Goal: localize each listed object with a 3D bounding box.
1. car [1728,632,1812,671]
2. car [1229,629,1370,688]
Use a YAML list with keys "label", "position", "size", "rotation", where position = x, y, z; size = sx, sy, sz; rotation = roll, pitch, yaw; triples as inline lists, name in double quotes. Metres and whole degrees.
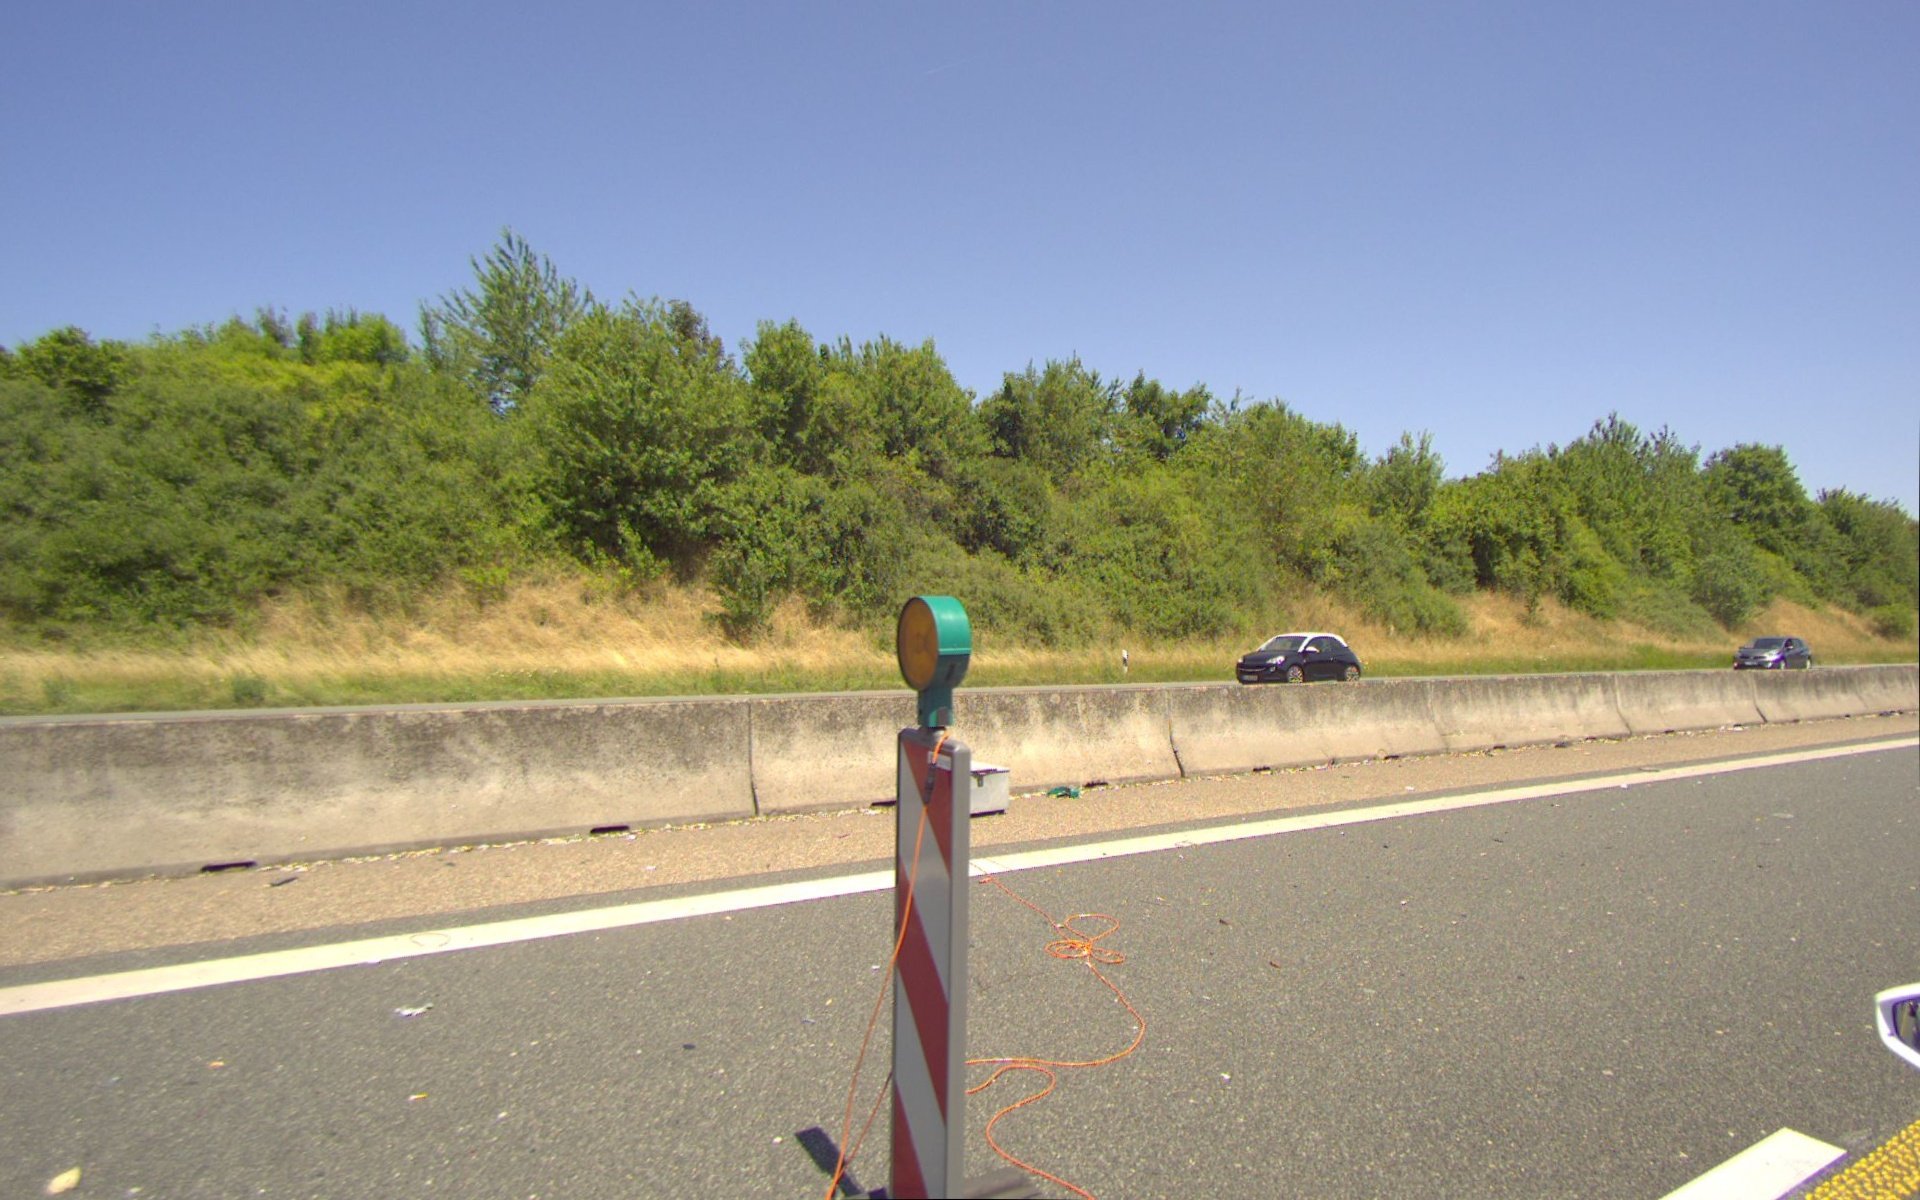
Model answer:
- label: "car"
  position: [34.254, 2.170, 42.448]
  size: [3.953, 1.568, 1.492]
  rotation: [1, -1, -30]
- label: "car"
  position: [9.170, 1.539, 27.082]
  size: [3.734, 1.484, 1.566]
  rotation: [1, -1, -30]
